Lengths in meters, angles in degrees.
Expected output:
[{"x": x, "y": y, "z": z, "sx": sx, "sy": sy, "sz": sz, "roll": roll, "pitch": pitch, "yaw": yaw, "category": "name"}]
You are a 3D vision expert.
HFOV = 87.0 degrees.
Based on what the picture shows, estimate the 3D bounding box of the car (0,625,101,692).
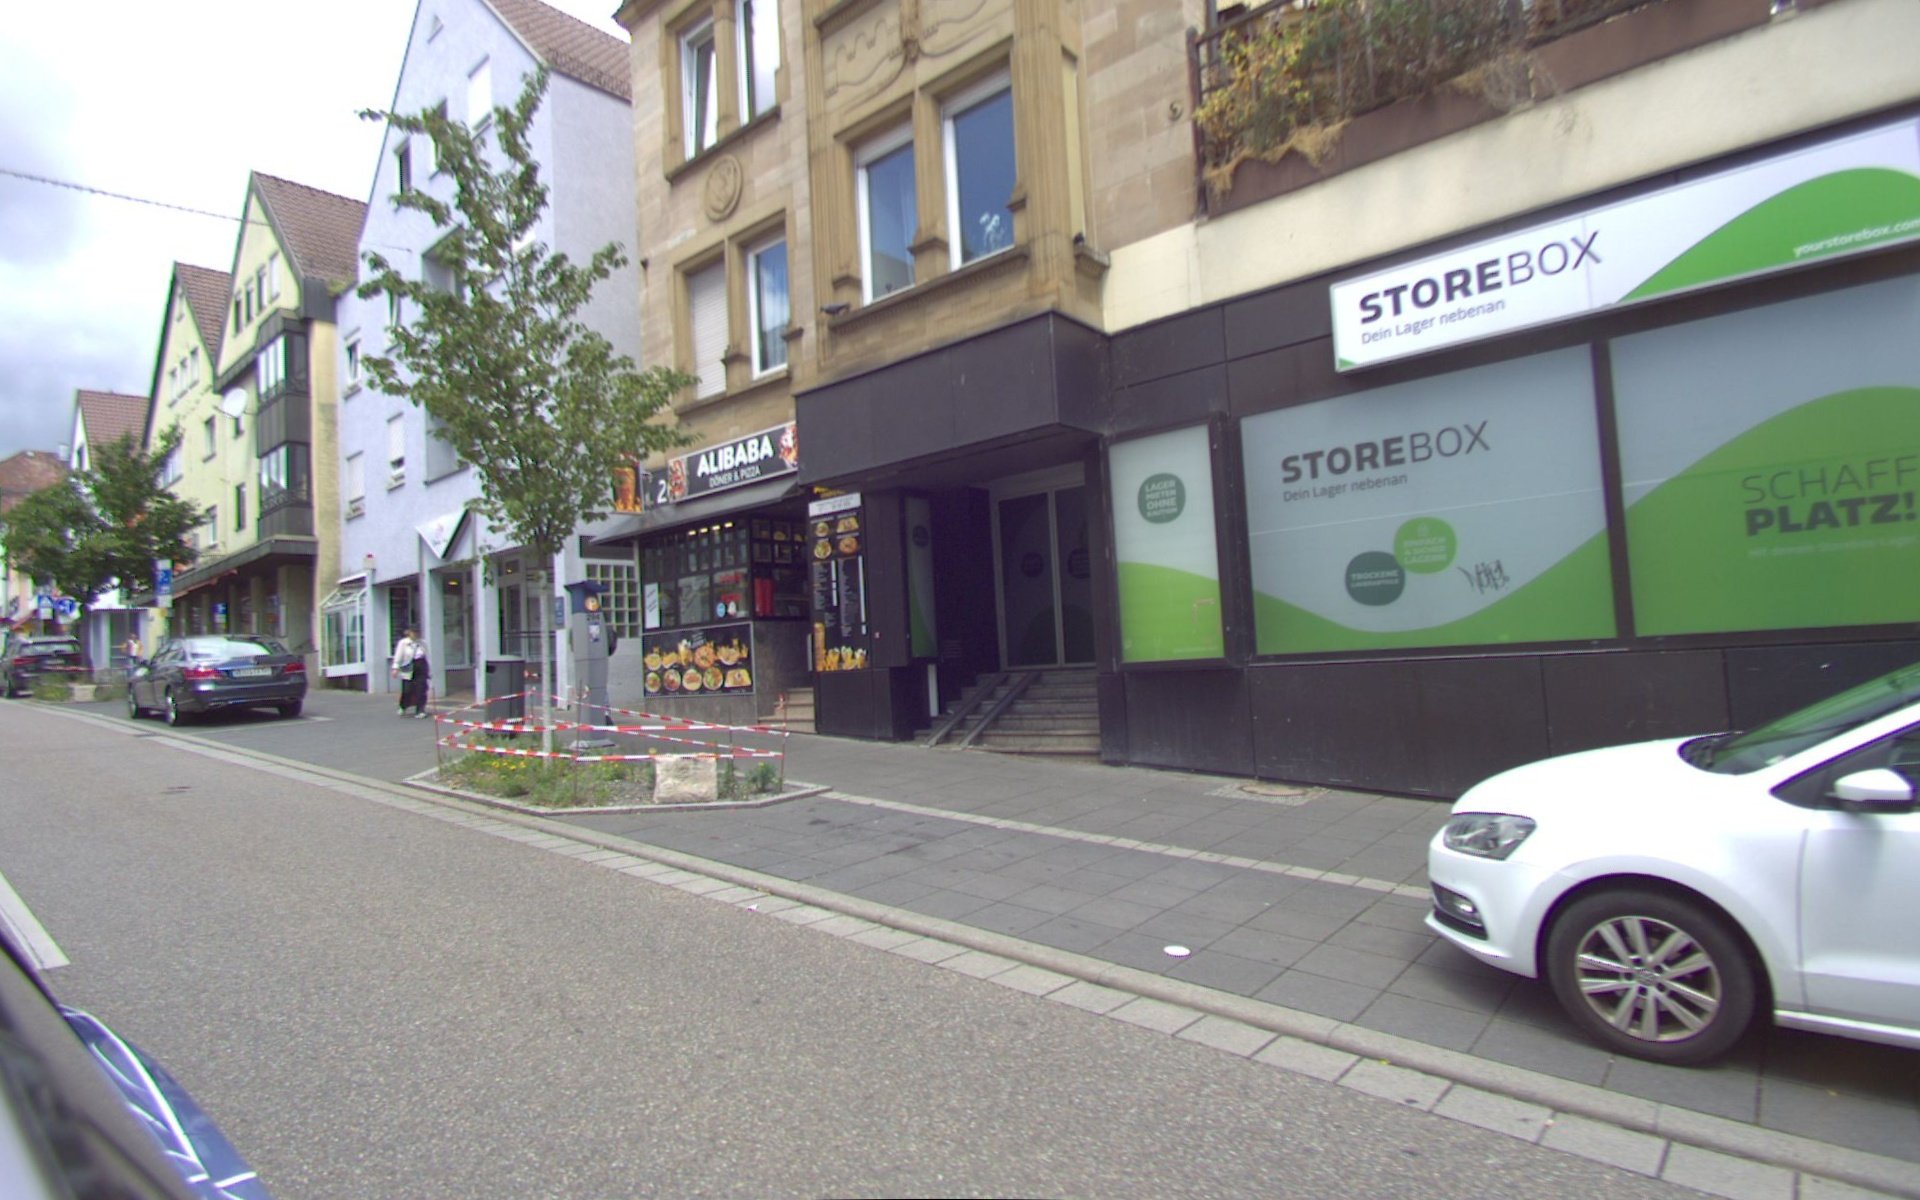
[{"x": -26.393, "y": 1.666, "z": 29.016, "sx": 4.604, "sy": 1.706, "sz": 1.986, "roll": -4, "pitch": -2, "yaw": 40, "category": "car"}]

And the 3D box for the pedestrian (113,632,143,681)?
[{"x": -30.448, "y": 2.065, "z": 37.038, "sx": 0.835, "sy": 1.752, "sz": 0.630, "roll": -3, "pitch": -4, "yaw": 38, "category": "pedestrian"}]

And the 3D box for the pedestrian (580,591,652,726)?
[{"x": -4.574, "y": 0.765, "z": 13.472, "sx": 0.710, "sy": 1.726, "sz": 0.581, "roll": -2, "pitch": -1, "yaw": 40, "category": "pedestrian"}]

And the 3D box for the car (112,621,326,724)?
[{"x": -13.175, "y": 1.216, "z": 17.871, "sx": 4.838, "sy": 1.504, "sz": 1.907, "roll": -3, "pitch": 0, "yaw": 40, "category": "car"}]

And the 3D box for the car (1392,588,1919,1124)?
[{"x": 3.906, "y": 0.712, "z": 3.225, "sx": 4.258, "sy": 1.523, "sz": 1.907, "roll": -3, "pitch": -1, "yaw": 40, "category": "car"}]

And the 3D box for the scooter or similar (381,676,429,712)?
[{"x": -9.245, "y": 1.555, "z": 16.854, "sx": 0.572, "sy": 0.523, "sz": 0.519, "roll": -2, "pitch": 0, "yaw": 40, "category": "scooter or similar"}]

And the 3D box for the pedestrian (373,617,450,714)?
[{"x": -8.859, "y": 1.039, "z": 16.356, "sx": 0.809, "sy": 1.474, "sz": 0.817, "roll": -2, "pitch": 0, "yaw": 40, "category": "pedestrian"}]
